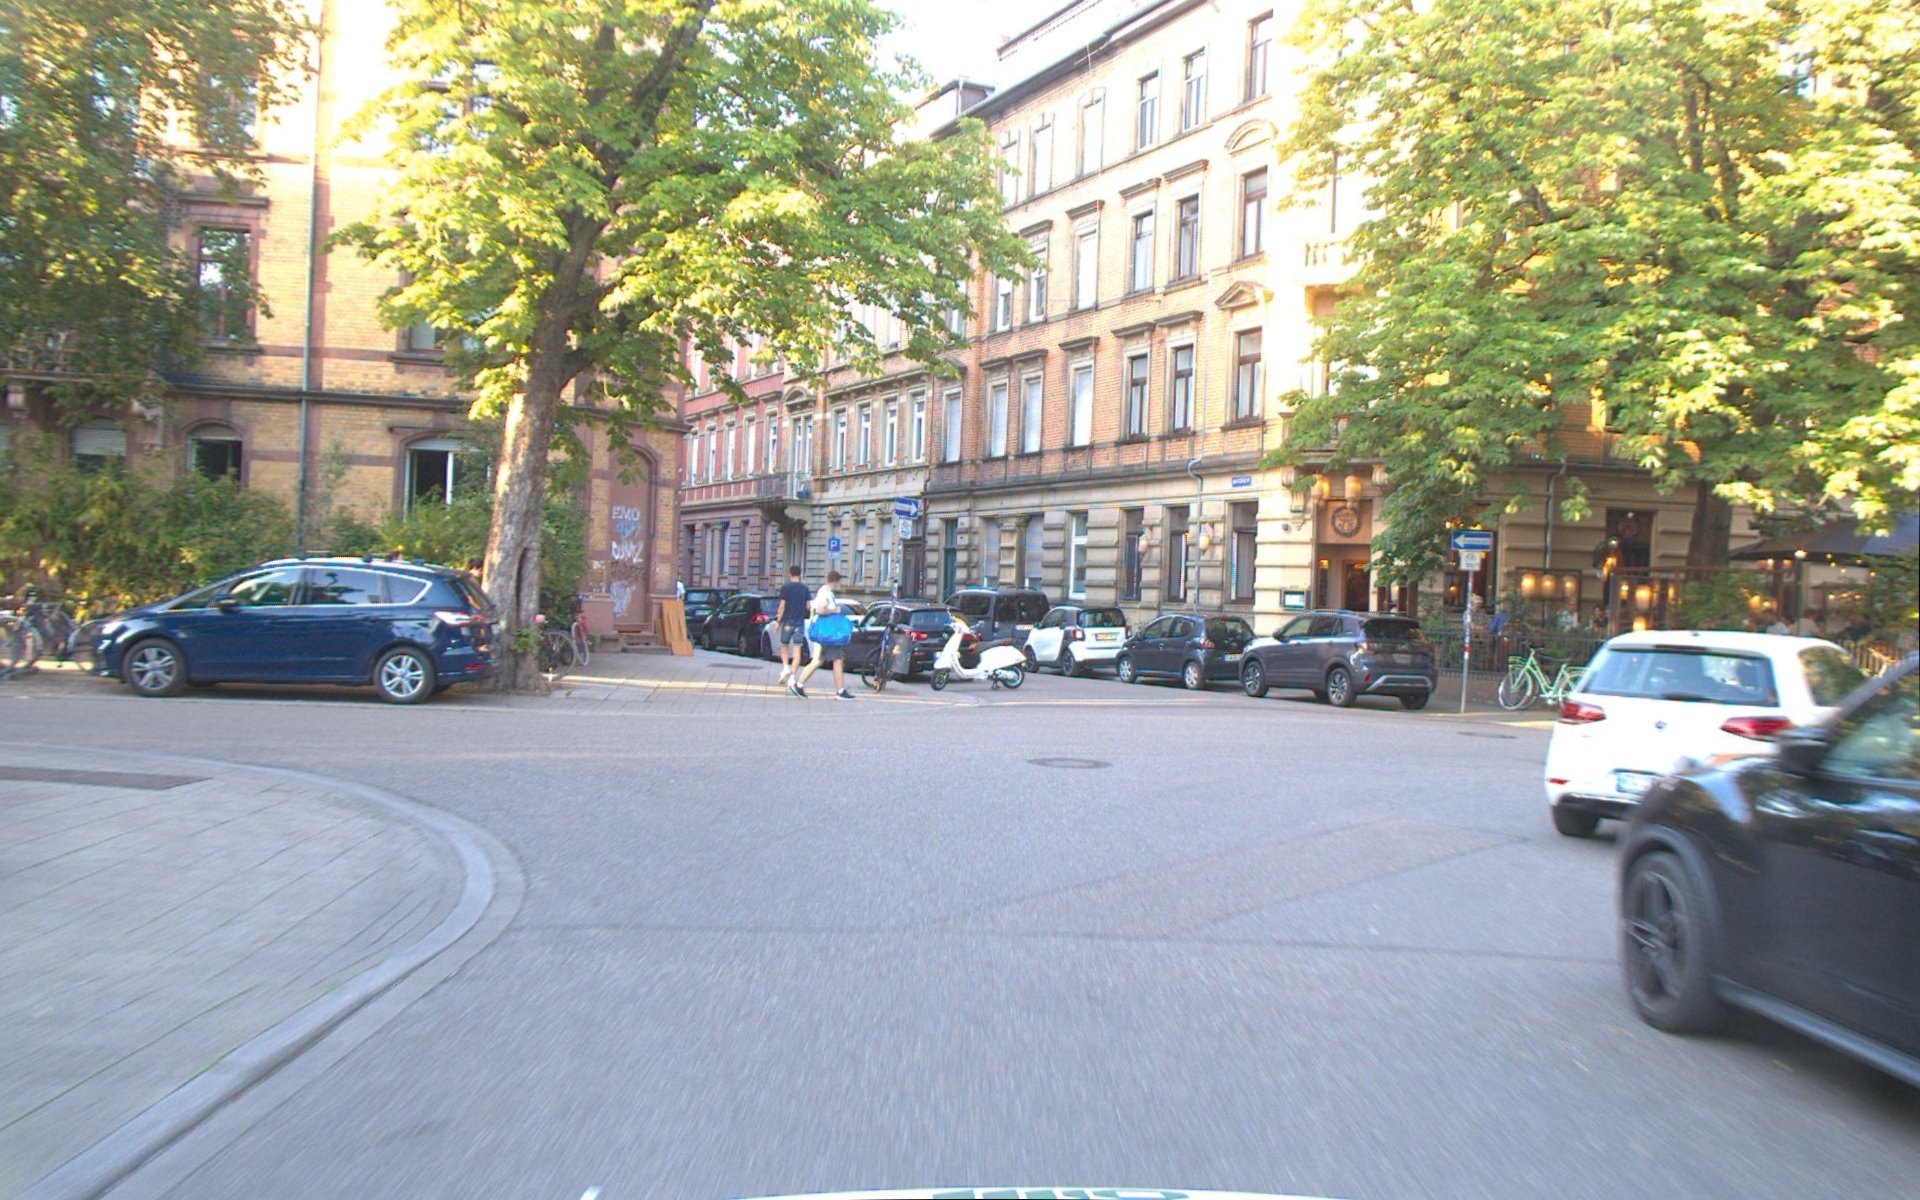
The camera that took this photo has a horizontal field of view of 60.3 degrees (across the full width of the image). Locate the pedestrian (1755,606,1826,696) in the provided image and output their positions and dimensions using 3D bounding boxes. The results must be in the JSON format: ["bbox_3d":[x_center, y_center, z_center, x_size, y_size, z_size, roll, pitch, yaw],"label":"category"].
[{"bbox_3d":[14.457,0.888,28.802,0.759,1.507,0.759,2,1,-12],"label":"pedestrian"}]

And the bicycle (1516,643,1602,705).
[{"bbox_3d":[10.016,1.231,27.677,0.317,0.930,1.344,1,1,-42],"label":"bicycle"}]

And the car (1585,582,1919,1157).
[{"bbox_3d":[3.515,0.780,4.948,1.661,1.598,3.970,2,0,-2],"label":"car"}]

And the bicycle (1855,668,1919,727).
[{"bbox_3d":[15.479,1.594,26.884,1.842,0.900,0.399,2,1,-15],"label":"bicycle"}]

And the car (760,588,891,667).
[{"bbox_3d":[-3.013,0.567,36.225,1.632,1.455,4.139,3,1,-23],"label":"car"}]

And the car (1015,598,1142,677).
[{"bbox_3d":[2.598,0.814,36.797,1.653,1.552,2.746,3,1,-25],"label":"car"}]

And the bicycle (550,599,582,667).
[{"bbox_3d":[-6.472,0.530,27.211,0.237,1.046,1.676,2,1,-5],"label":"bicycle"}]

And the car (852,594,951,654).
[{"bbox_3d":[-1.643,0.636,45.497,1.653,1.456,2.992,3,1,-25],"label":"car"}]

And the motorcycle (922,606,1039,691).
[{"bbox_3d":[0.353,0.829,28.391,1.897,1.364,0.576,2,1,-11],"label":"motorcycle"}]

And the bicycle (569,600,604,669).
[{"bbox_3d":[-6.167,0.555,27.335,0.312,1.046,1.676,2,1,-5],"label":"bicycle"}]

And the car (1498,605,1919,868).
[{"bbox_3d":[5.685,0.872,12.061,1.849,1.492,3.947,4,1,42],"label":"car"}]

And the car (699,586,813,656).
[{"bbox_3d":[-5.045,0.486,40.479,1.633,1.455,3.867,3,1,-25],"label":"car"}]

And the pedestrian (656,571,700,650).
[{"bbox_3d":[-6.730,0.250,39.447,0.828,1.835,0.771,2,1,-21],"label":"pedestrian"}]

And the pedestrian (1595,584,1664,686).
[{"bbox_3d":[12.396,0.645,30.636,0.760,1.835,0.840,2,1,-16],"label":"pedestrian"}]

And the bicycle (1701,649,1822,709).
[{"bbox_3d":[12.923,1.281,26.676,1.935,0.900,0.399,2,1,-15],"label":"bicycle"}]

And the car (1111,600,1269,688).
[{"bbox_3d":[4.576,0.858,33.297,1.653,1.552,3.219,2,1,-25],"label":"car"}]

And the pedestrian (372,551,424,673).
[{"bbox_3d":[-7.799,0.158,22.965,0.532,1.663,0.447,2,1,-5],"label":"pedestrian"}]

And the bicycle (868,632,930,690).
[{"bbox_3d":[-0.952,0.959,26.256,0.416,0.836,1.462,2,1,21],"label":"bicycle"}]

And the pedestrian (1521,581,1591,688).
[{"bbox_3d":[10.583,0.598,29.375,0.760,1.835,0.840,2,1,-16],"label":"pedestrian"}]

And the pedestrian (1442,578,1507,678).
[{"bbox_3d":[9.776,0.527,31.420,0.828,1.835,0.771,2,1,-21],"label":"pedestrian"}]

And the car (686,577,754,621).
[{"bbox_3d":[-8.812,-0.052,60.632,1.653,1.456,2.992,3,1,-25],"label":"car"}]

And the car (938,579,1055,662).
[{"bbox_3d":[0.850,0.476,40.227,1.653,1.813,2.992,3,1,-25],"label":"car"}]

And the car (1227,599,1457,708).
[{"bbox_3d":[6.548,0.885,28.784,1.890,1.552,3.867,3,2,-25],"label":"car"}]

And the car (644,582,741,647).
[{"bbox_3d":[-7.445,0.363,45.711,1.633,1.551,3.867,3,1,-25],"label":"car"}]

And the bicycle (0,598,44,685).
[{"bbox_3d":[-12.257,0.492,20.173,1.831,1.046,0.442,2,1,-25],"label":"bicycle"}]

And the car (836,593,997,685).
[{"bbox_3d":[-0.902,0.709,31.689,1.633,1.455,3.961,3,1,-24],"label":"car"}]

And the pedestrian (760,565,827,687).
[{"bbox_3d":[-2.606,0.397,25.749,0.724,1.835,1.115,2,1,-21],"label":"pedestrian"}]

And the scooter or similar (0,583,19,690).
[{"bbox_3d":[-12.005,0.415,19.514,1.493,1.245,0.442,2,1,-25],"label":"scooter or similar"}]

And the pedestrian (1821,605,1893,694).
[{"bbox_3d":[15.739,0.859,29.021,0.759,1.507,0.760,2,1,-11],"label":"pedestrian"}]

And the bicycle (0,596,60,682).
[{"bbox_3d":[-12.348,0.478,20.714,1.831,1.046,0.442,2,1,-25],"label":"bicycle"}]

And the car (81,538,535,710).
[{"bbox_3d":[-7.790,0.268,20.196,4.737,1.762,1.918,3,1,-7],"label":"car"}]

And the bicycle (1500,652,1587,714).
[{"bbox_3d":[9.692,1.370,27.498,0.317,0.930,1.344,1,1,-42],"label":"bicycle"}]

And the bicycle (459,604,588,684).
[{"bbox_3d":[-6.032,0.613,22.855,1.650,1.046,0.442,2,1,-25],"label":"bicycle"}]

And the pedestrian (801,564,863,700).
[{"bbox_3d":[-1.818,0.440,23.515,0.799,1.884,0.802,2,1,-5],"label":"pedestrian"}]
